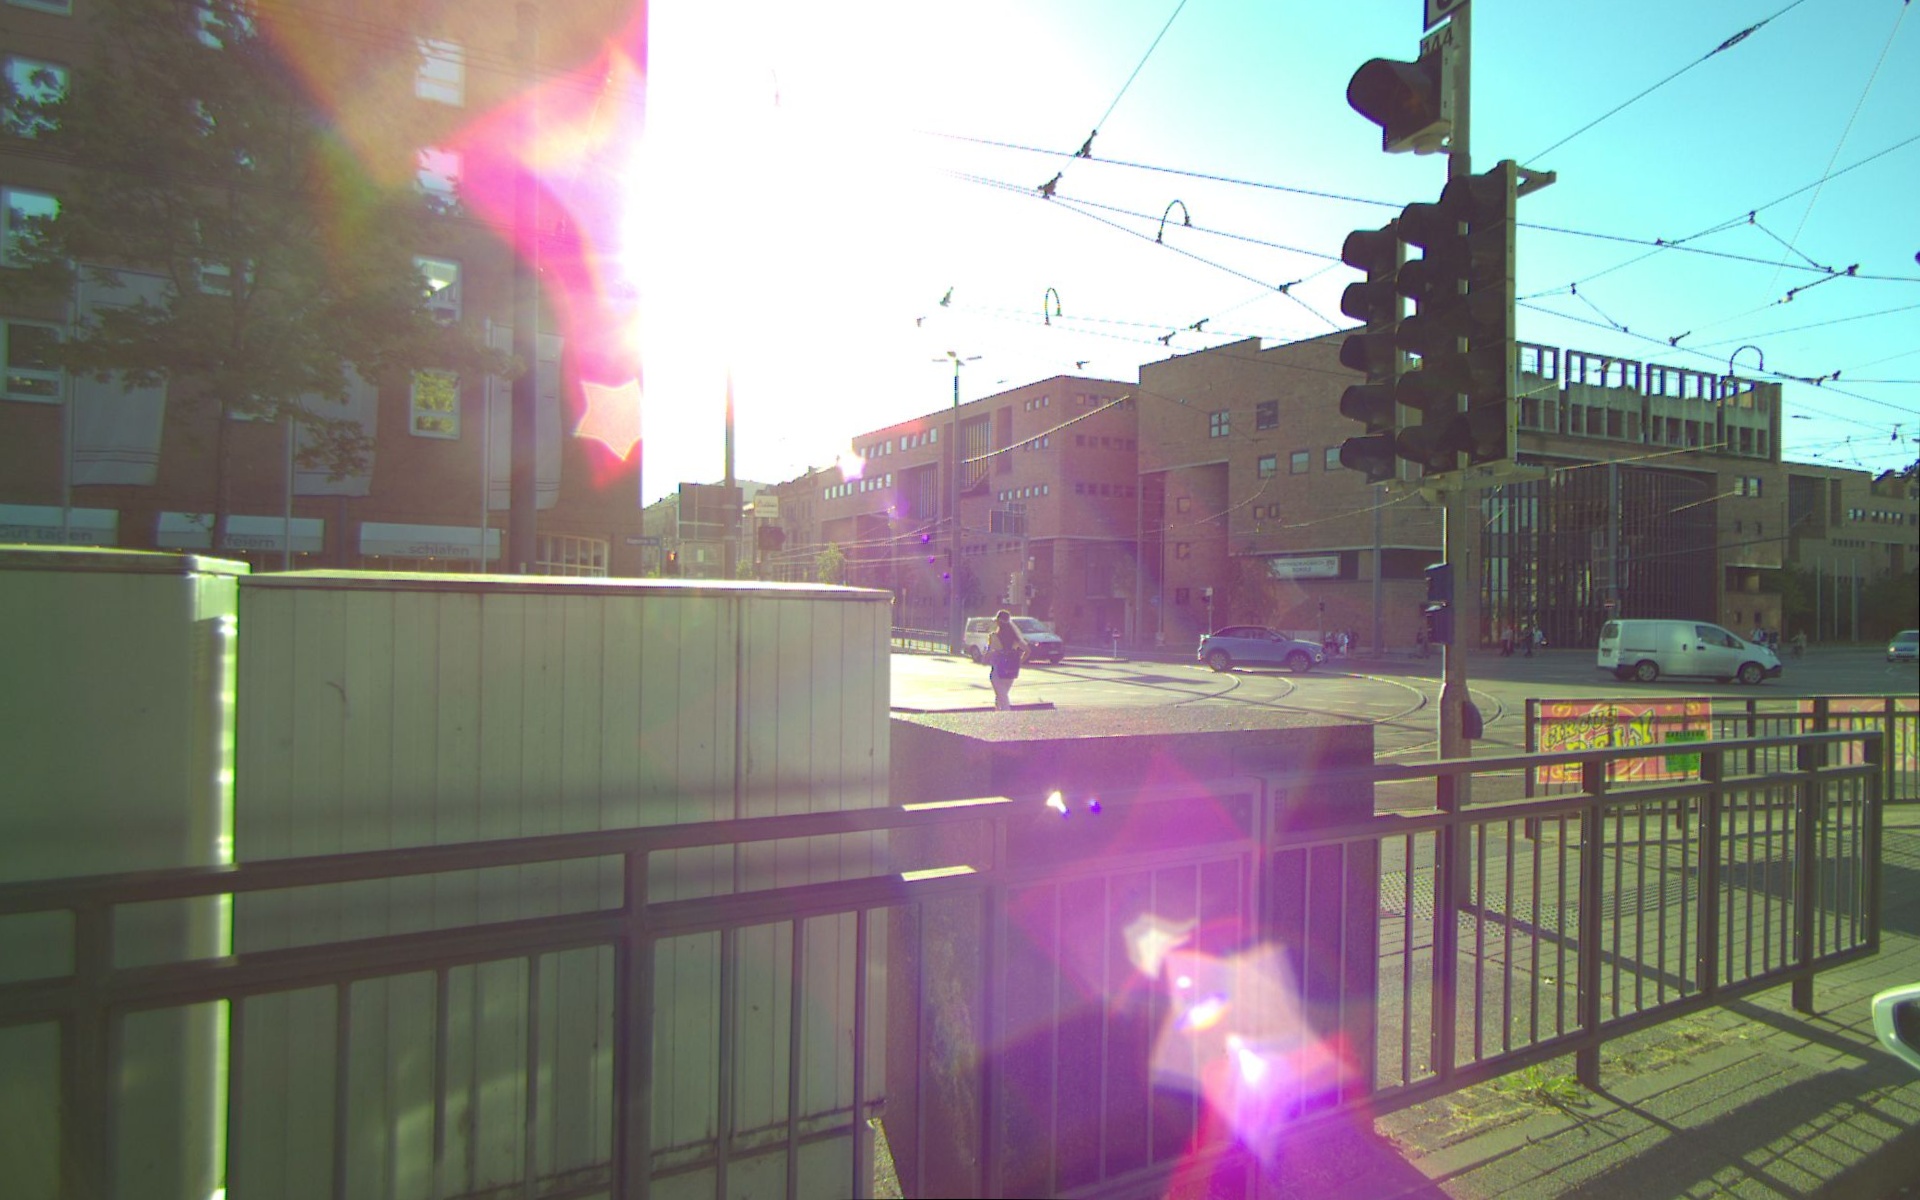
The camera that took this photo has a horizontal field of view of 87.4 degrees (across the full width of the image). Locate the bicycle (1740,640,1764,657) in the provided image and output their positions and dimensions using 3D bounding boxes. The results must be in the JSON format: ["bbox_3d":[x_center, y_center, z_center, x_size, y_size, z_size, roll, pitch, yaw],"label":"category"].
[{"bbox_3d":[44.444,2.716,56.382,1.568,0.976,0.539,1,-1,-30],"label":"bicycle"}]

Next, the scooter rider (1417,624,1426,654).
[{"bbox_3d":[25.446,2.159,55.390,0.429,1.669,0.229,0,-1,15],"label":"scooter rider"}]

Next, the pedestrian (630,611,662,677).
[{"bbox_3d":[-8.957,1.253,28.624,0.713,1.837,0.904,1,-1,-28],"label":"pedestrian"}]

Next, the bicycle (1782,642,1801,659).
[{"bbox_3d":[49.367,2.977,59.620,1.332,0.976,0.449,1,-1,-30],"label":"bicycle"}]

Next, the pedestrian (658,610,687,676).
[{"bbox_3d":[-8.298,1.226,28.967,0.647,1.864,0.835,1,-1,-28],"label":"pedestrian"}]

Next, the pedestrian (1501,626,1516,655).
[{"bbox_3d":[32.656,2.391,59.836,0.541,1.706,0.570,1,-1,-23],"label":"pedestrian"}]

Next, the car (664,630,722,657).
[{"bbox_3d":[-14.399,2.300,53.963,1.729,1.372,3.960,1,-2,-36],"label":"car"}]

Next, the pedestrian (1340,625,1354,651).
[{"bbox_3d":[22.584,2.225,58.667,0.611,1.473,0.562,2,-2,-45],"label":"pedestrian"}]

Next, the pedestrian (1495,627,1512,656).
[{"bbox_3d":[31.551,2.404,58.302,0.612,1.706,0.649,1,-1,-16],"label":"pedestrian"}]

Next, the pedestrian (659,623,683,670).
[{"bbox_3d":[-10.509,1.686,36.563,0.658,1.669,0.638,1,-1,-34],"label":"pedestrian"}]

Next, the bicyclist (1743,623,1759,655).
[{"bbox_3d":[44.375,2.185,56.332,0.574,1.754,0.534,1,-1,-30],"label":"bicyclist"}]

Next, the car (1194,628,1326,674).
[{"bbox_3d":[10.098,1.674,33.818,4.028,1.445,1.631,0,-1,28],"label":"car"}]

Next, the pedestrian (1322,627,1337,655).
[{"bbox_3d":[21.502,2.371,58.469,0.582,1.635,0.593,1,-1,-31],"label":"pedestrian"}]

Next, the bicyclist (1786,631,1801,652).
[{"bbox_3d":[49.435,2.456,59.558,0.574,1.194,0.503,1,-1,-30],"label":"bicyclist"}]

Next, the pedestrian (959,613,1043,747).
[{"bbox_3d":[0.527,1.009,13.131,0.709,1.669,0.953,1,-1,-30],"label":"pedestrian"}]

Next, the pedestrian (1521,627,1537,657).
[{"bbox_3d":[32.452,2.374,57.315,0.543,1.706,0.589,1,-1,-23],"label":"pedestrian"}]

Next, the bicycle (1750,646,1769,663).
[{"bbox_3d":[46.642,3.159,58.603,1.304,0.976,0.465,1,-1,-30],"label":"bicycle"}]

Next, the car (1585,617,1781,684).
[{"bbox_3d":[21.597,1.481,30.214,4.434,1.891,1.762,0,-1,14],"label":"car"}]

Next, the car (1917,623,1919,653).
[{"bbox_3d":[55.276,2.109,55.891,3.954,1.661,1.984,1,-2,-31],"label":"car"}]

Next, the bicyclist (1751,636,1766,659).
[{"bbox_3d":[46.595,2.789,58.580,0.574,1.321,0.503,1,-1,-30],"label":"bicyclist"}]

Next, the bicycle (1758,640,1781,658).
[{"bbox_3d":[44.999,2.699,55.858,1.557,0.976,0.470,1,-1,-30],"label":"bicycle"}]

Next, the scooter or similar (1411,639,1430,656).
[{"bbox_3d":[25.402,2.636,55.375,0.931,0.911,0.176,0,-1,14],"label":"scooter or similar"}]

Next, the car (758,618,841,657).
[{"bbox_3d":[-8.319,1.904,51.708,1.982,1.928,5.156,1,-2,-38],"label":"car"}]

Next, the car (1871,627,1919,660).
[{"bbox_3d":[49.006,2.221,51.778,3.954,1.661,1.984,1,-2,-31],"label":"car"}]

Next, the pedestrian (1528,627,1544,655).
[{"bbox_3d":[33.580,2.372,58.560,0.610,1.647,0.609,1,-1,-26],"label":"pedestrian"}]

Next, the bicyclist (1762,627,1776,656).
[{"bbox_3d":[44.993,2.304,55.867,0.574,1.624,0.456,1,-1,-30],"label":"bicyclist"}]

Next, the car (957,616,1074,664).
[{"bbox_3d":[2.202,1.611,41.474,1.948,1.873,5.276,1,-2,-36],"label":"car"}]

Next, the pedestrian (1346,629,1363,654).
[{"bbox_3d":[22.280,2.336,56.704,0.670,1.357,0.603,1,-1,-14],"label":"pedestrian"}]

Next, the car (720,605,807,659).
[{"bbox_3d":[-9.434,1.514,47.962,1.982,2.419,5.156,1,-2,-38],"label":"car"}]

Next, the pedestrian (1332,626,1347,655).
[{"bbox_3d":[21.746,2.324,57.568,0.543,1.670,0.596,1,-1,-30],"label":"pedestrian"}]
